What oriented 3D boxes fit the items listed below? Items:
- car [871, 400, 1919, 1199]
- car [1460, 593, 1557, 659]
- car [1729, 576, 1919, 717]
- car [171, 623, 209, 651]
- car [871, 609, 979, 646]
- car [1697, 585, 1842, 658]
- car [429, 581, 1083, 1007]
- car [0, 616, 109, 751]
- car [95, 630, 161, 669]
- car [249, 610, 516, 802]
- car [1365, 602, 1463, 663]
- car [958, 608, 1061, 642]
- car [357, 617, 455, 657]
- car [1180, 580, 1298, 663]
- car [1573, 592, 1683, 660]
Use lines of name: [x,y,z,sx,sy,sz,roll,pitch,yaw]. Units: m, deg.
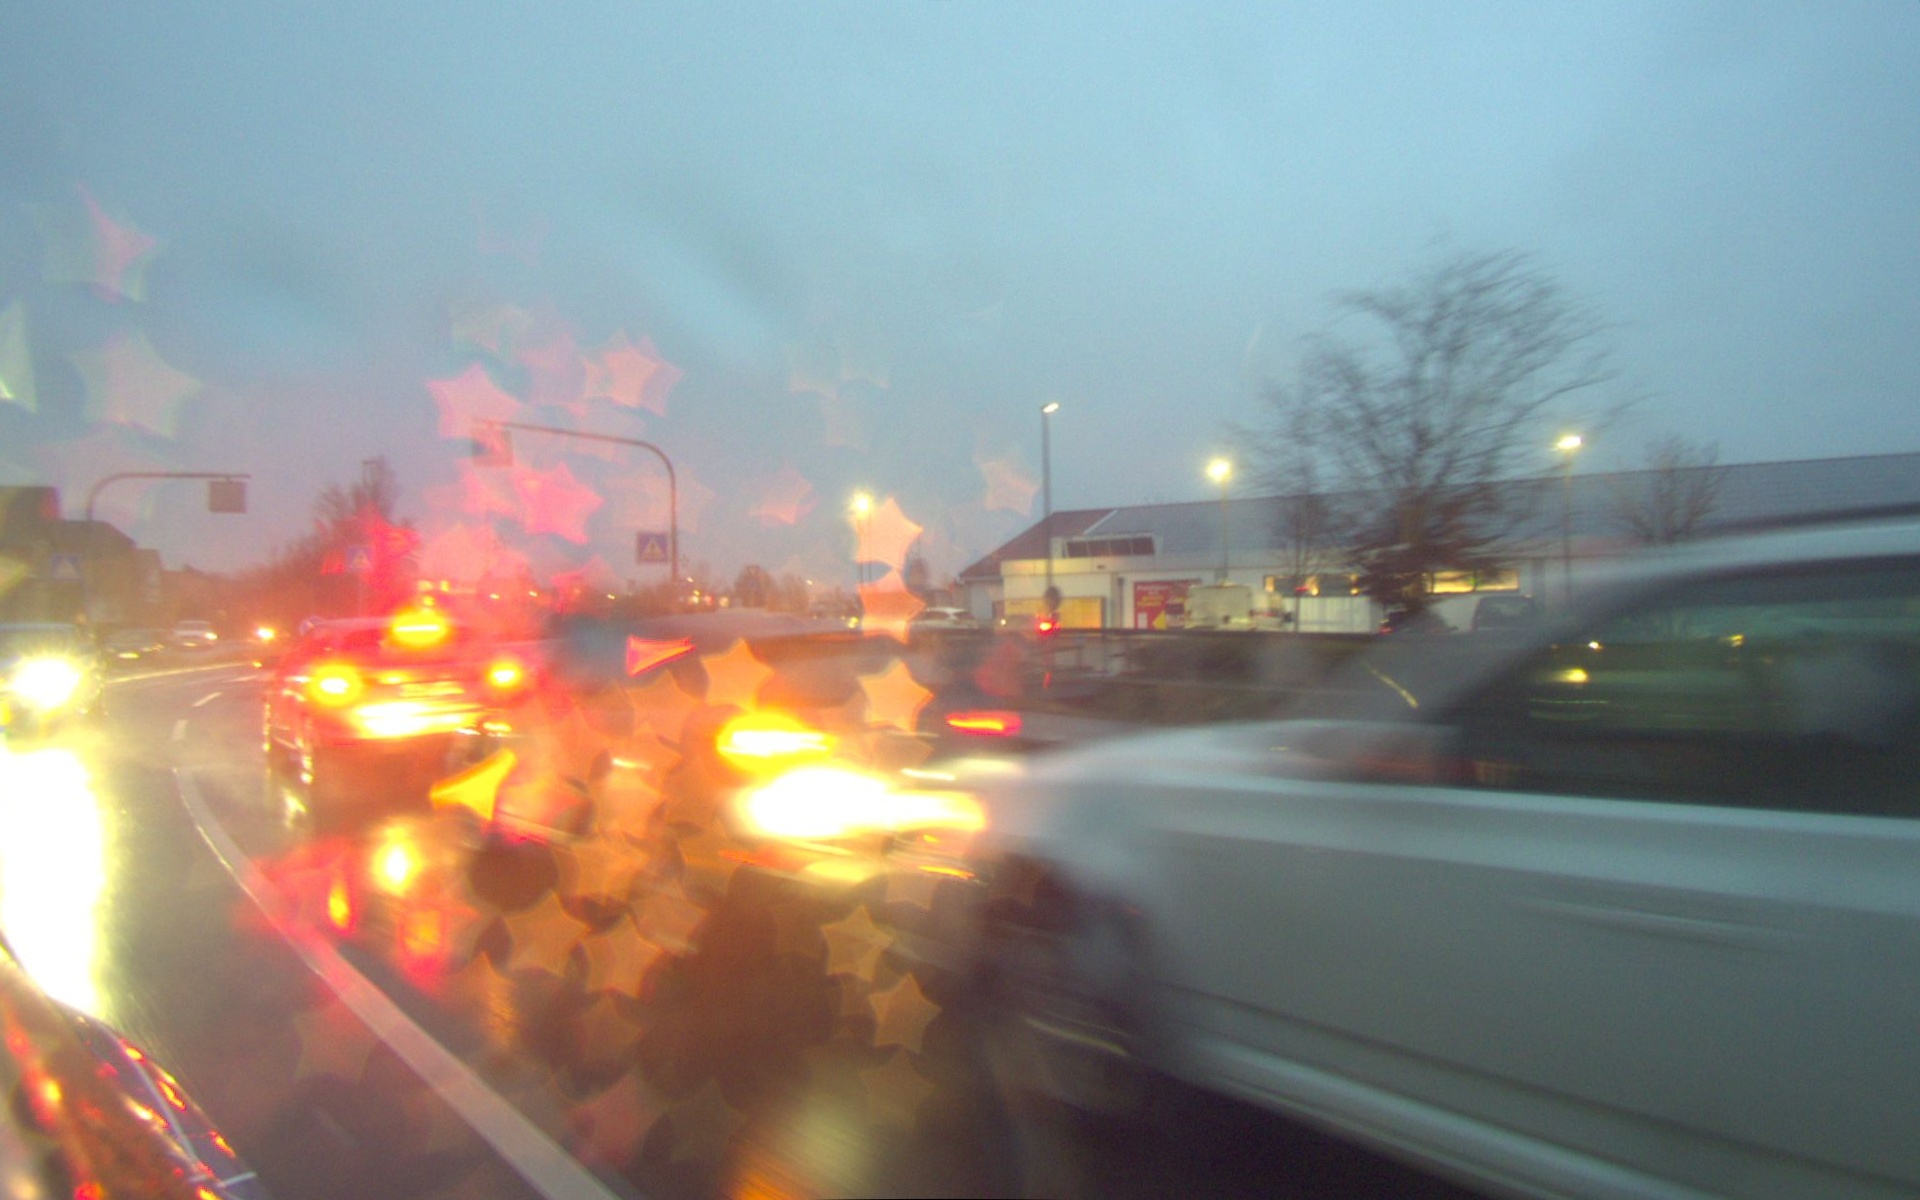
car: [1.916,0.561,2.356,4.422,1.736,1.752,-2,-1,44]
car: [14.682,0.731,27.021,2.047,1.575,4.398,-3,-3,30]
car: [12.713,0.579,14.493,2.025,1.724,4.737,-2,-1,30]
car: [-52.402,2.492,68.919,1.917,1.819,4.182,-1,-1,-36]
car: [-1.592,1.192,45.076,4.773,1.548,1.669,-1,-1,34]
car: [19.623,0.566,24.754,2.047,1.575,4.398,-3,-3,30]
car: [-1.436,0.725,5.678,1.750,1.506,4.046,0,-1,-43]
car: [-13.367,1.081,14.123,1.747,1.654,4.433,-1,-1,-33]
car: [-33.995,2.012,41.442,1.748,1.441,3.806,-2,-1,-35]
car: [-5.892,0.872,10.087,1.642,1.497,4.007,-1,0,-40]
car: [12.928,0.933,28.695,2.047,1.575,4.398,-3,-3,30]
car: [2.356,1.184,48.648,4.642,1.548,1.869,-1,-1,34]
car: [-22.743,1.498,41.759,1.971,1.484,4.002,-2,0,-2]
car: [8.611,0.708,30.907,2.210,2.300,5.148,-3,-3,30]
car: [17.099,0.707,26.115,2.047,1.575,4.398,-3,-3,30]
